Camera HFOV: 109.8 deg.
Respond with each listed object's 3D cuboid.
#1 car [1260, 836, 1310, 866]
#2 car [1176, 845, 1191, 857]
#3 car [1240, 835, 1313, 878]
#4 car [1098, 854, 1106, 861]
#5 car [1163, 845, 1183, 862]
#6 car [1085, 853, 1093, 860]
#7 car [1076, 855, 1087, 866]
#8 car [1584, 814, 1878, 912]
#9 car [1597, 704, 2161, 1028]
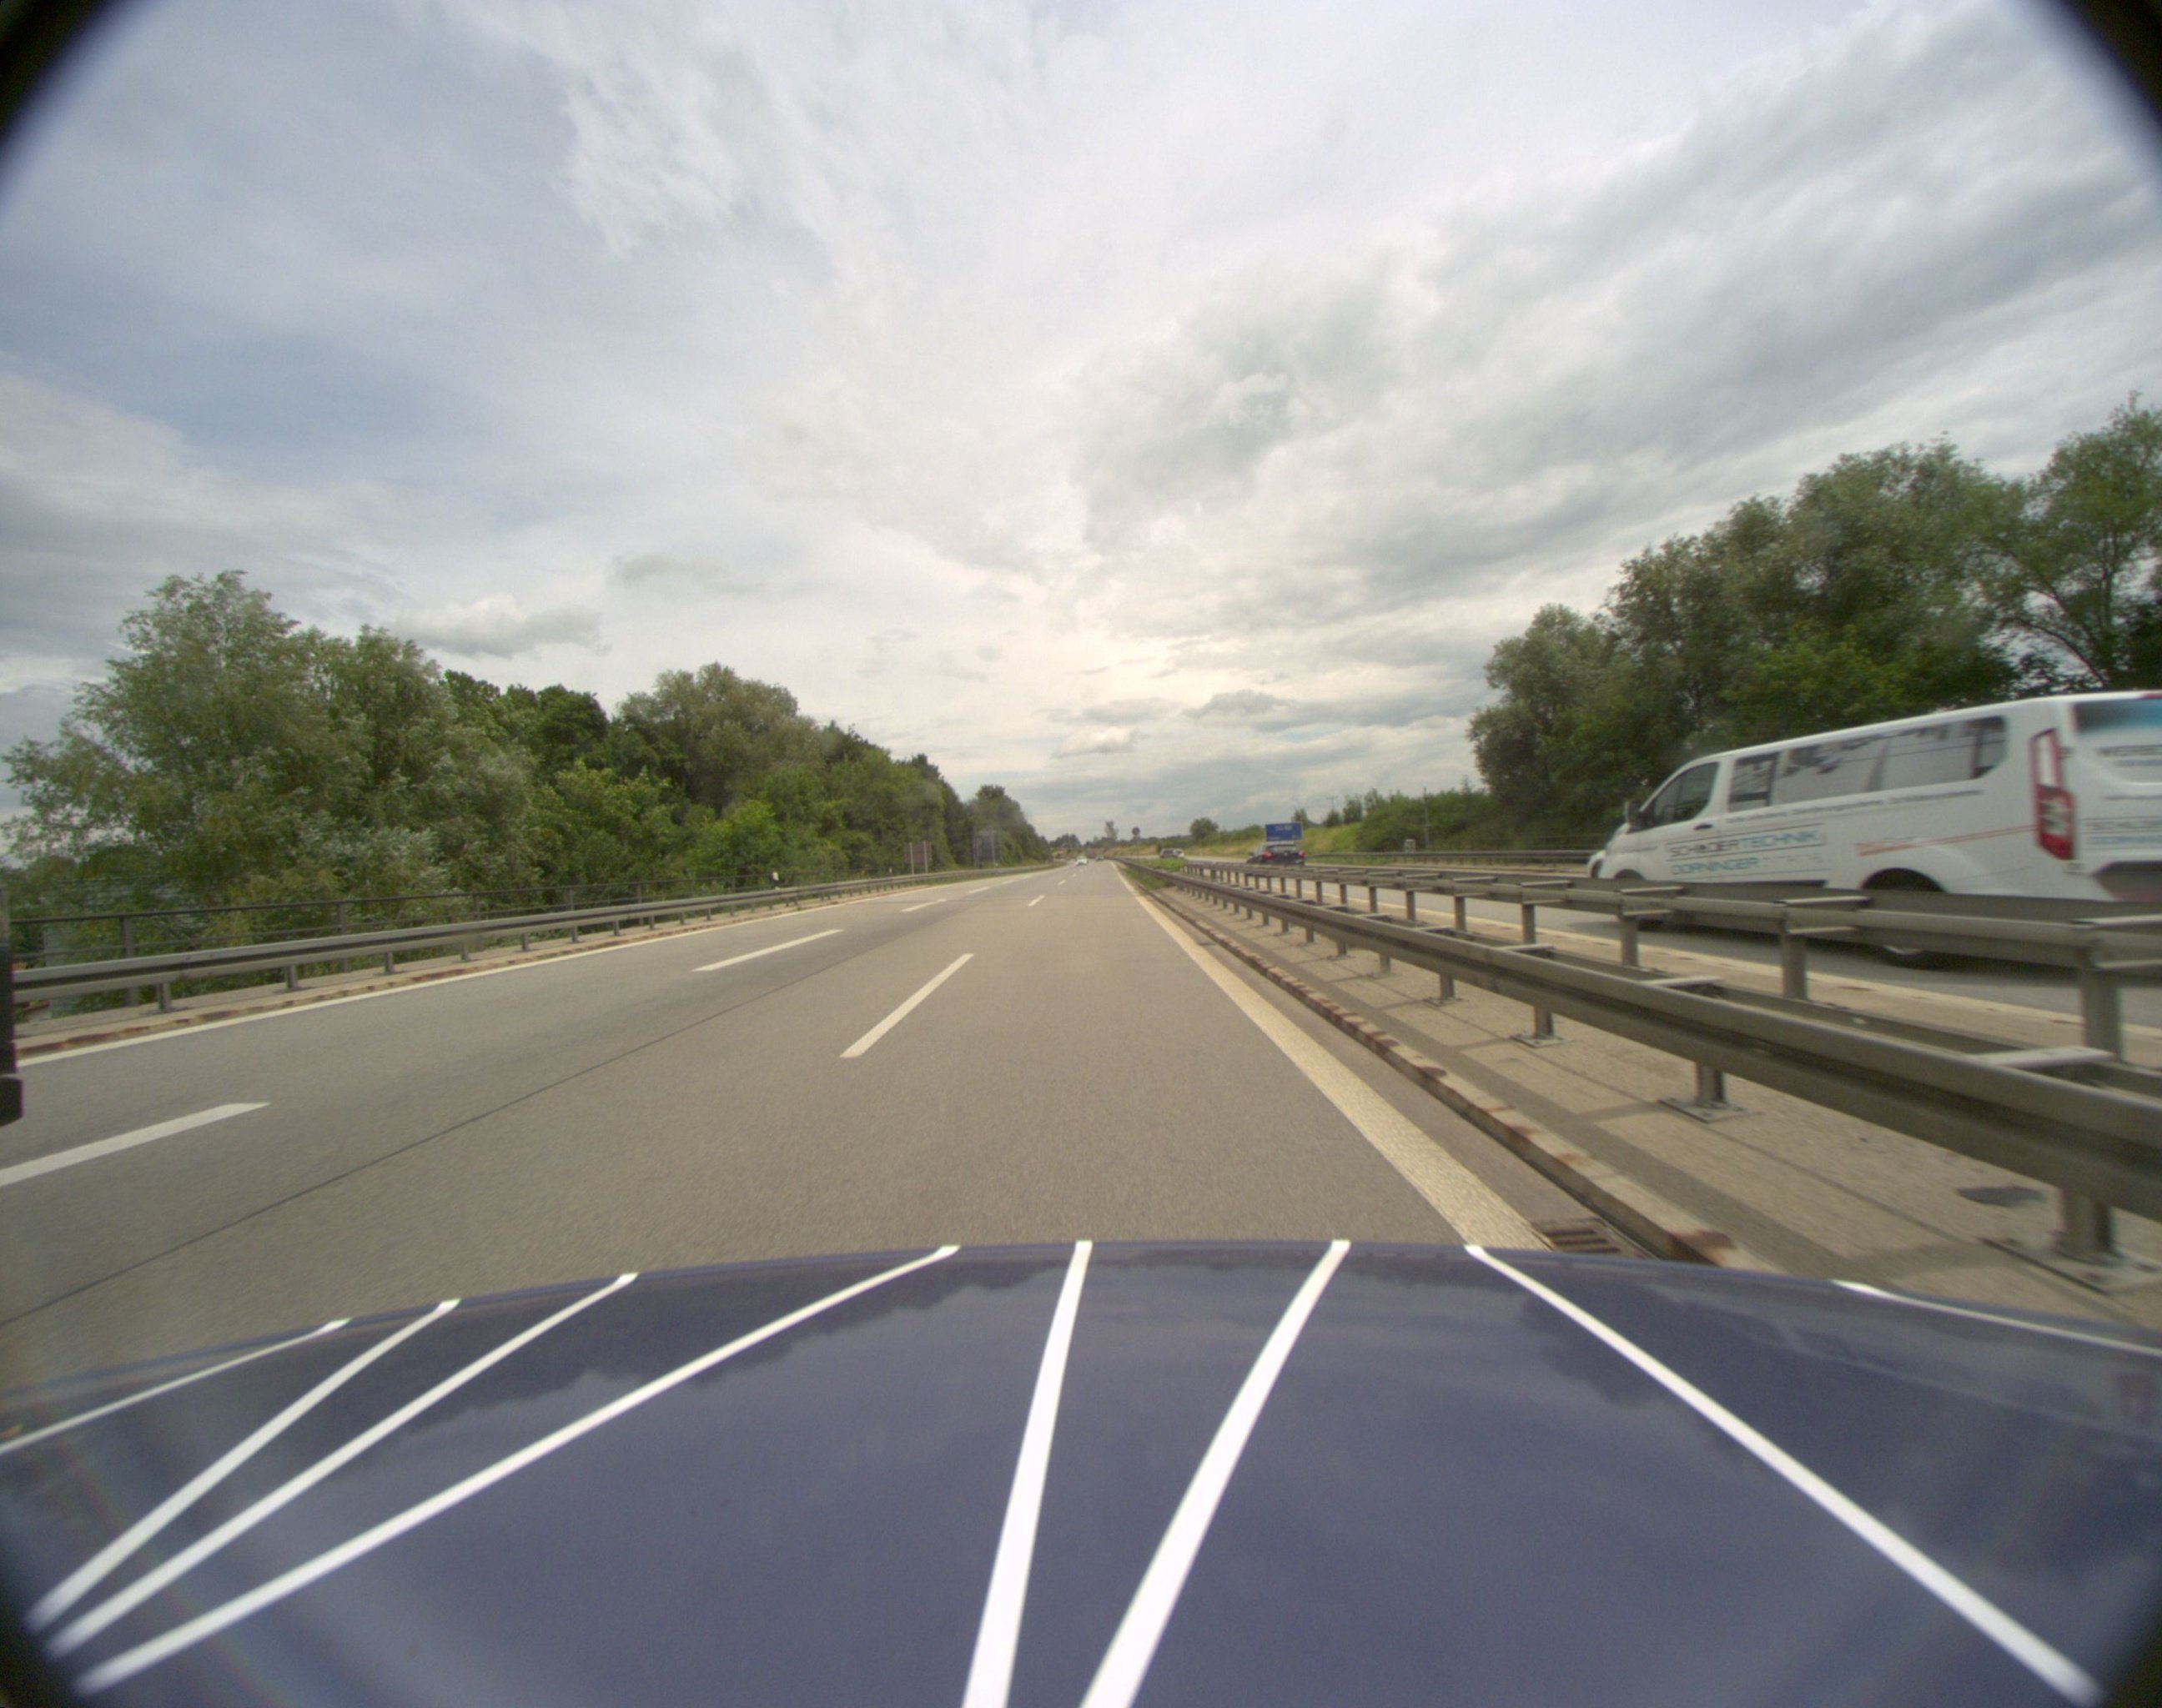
[{"bbox_3d":[11.678,-0.159,43.769,1.733,1.550,4.331,-3,0,2],"label":"car"},{"bbox_3d":[14.862,-0.414,110.431,1.654,1.483,4.283,-5,0,2],"label":"car"},{"bbox_3d":[8.250,0.084,32.575,1.850,1.602,4.946,-3,0,1],"label":"car"},{"bbox_3d":[5.305,0.833,191.510,1.775,1.474,4.695,-3,0,-3],"label":"car"},{"bbox_3d":[9.739,-0.044,80.771,1.729,1.641,4.223,-3,0,2],"label":"car"},{"bbox_3d":[1.933,0.585,186.024,1.650,1.686,4.736,-2,0,-2],"label":"car"},{"bbox_3d":[0.086,1.128,131.269,1.775,1.813,4.166,-1,0,0],"label":"car"},{"bbox_3d":[11.177,0.128,13.508,1.850,1.430,3.935,-2,0,1],"label":"car"},{"bbox_3d":[7.167,0.012,6.764,1.776,1.899,4.714,-4,0,-1],"label":"car"}]
